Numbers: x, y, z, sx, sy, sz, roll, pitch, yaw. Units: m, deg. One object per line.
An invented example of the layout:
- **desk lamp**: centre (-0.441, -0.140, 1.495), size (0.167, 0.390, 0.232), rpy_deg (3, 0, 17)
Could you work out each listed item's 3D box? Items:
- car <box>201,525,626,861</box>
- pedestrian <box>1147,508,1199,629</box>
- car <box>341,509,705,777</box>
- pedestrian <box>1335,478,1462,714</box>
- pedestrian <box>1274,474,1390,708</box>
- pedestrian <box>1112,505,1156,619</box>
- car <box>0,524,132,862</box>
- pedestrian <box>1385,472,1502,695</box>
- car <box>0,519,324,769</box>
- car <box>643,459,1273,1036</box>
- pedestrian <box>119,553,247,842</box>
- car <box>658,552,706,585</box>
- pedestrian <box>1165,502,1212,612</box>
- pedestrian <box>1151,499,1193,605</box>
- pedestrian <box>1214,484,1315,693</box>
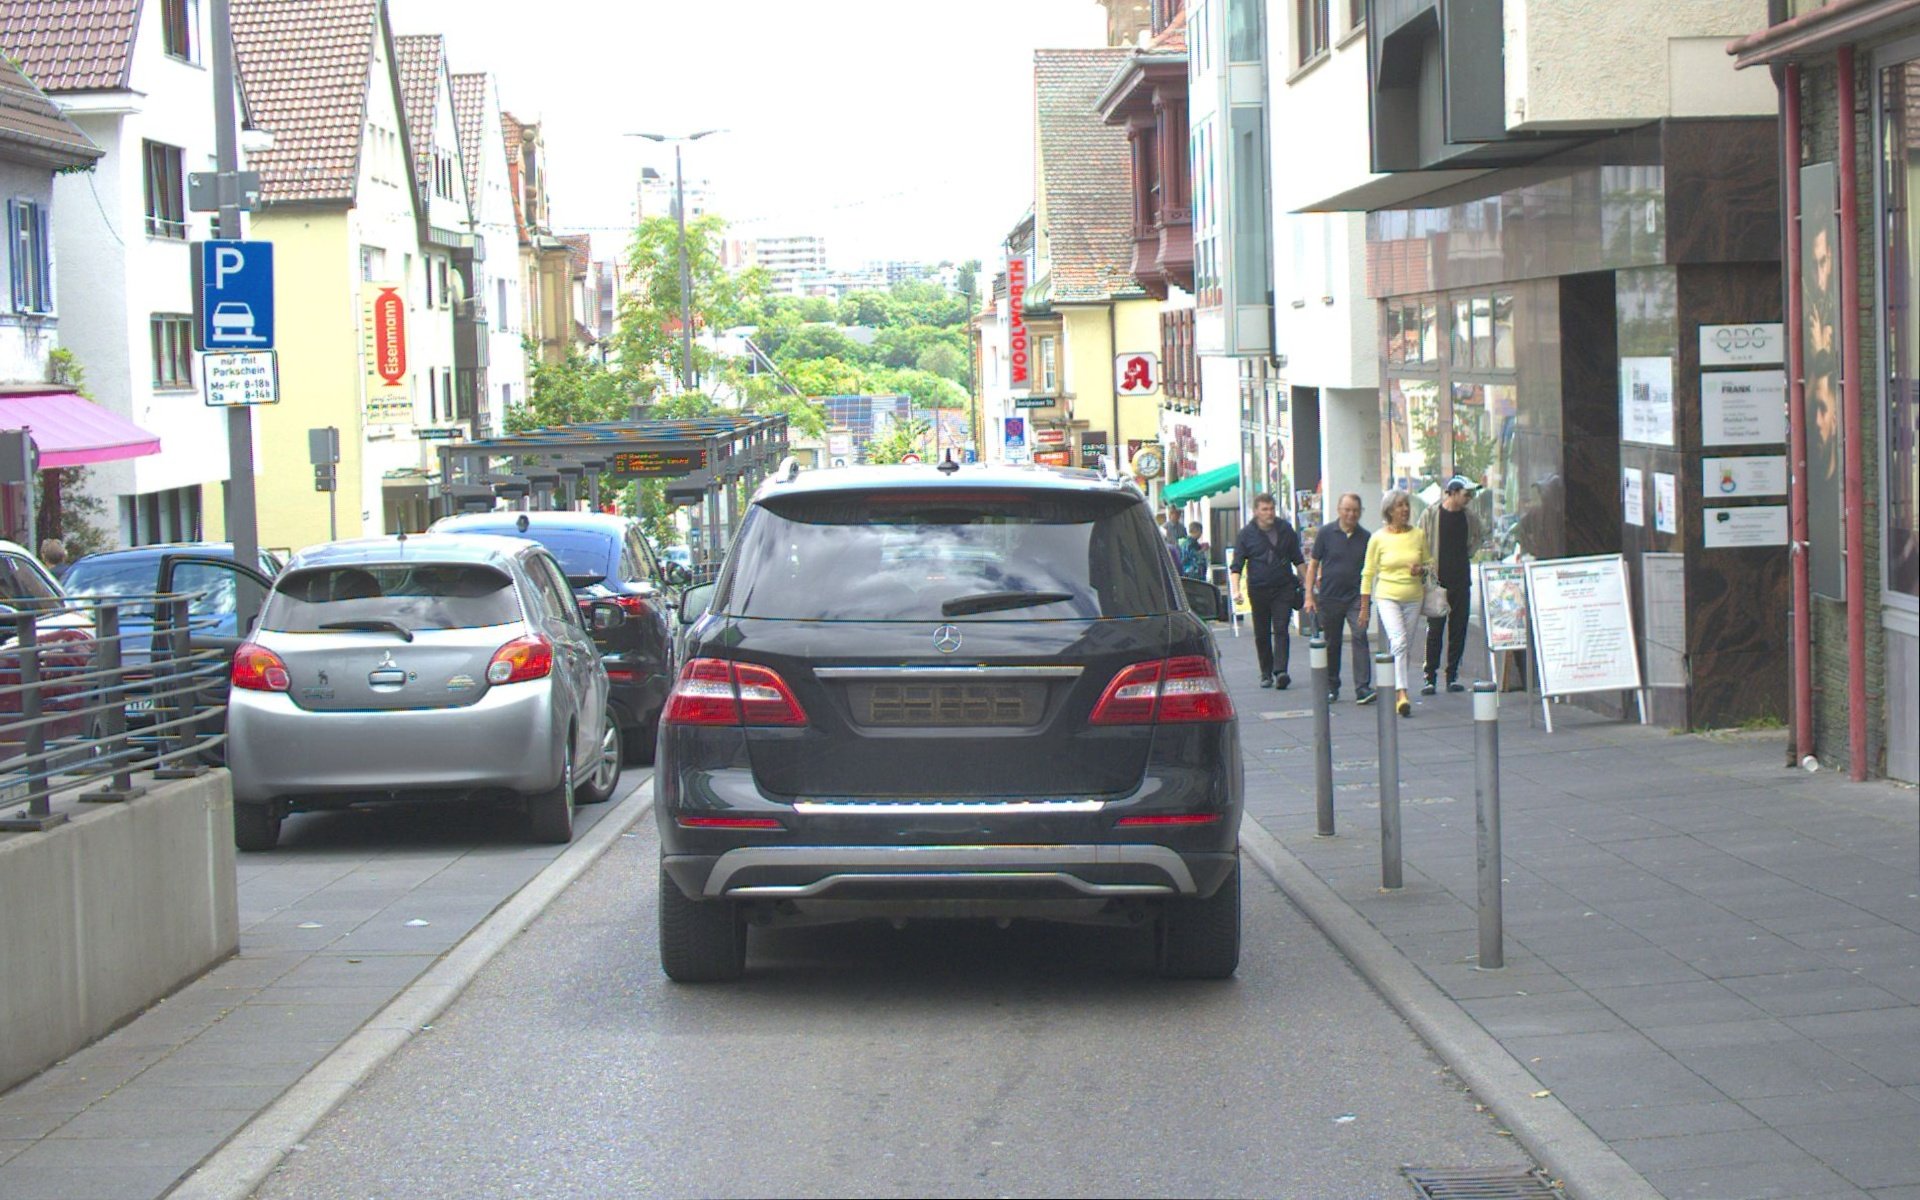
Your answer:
- **car**: centre (-2.674, 0.393, 17.523), size (1.620, 1.527, 3.671), rpy_deg (0, 1, -1)
- **pedestrian**: centre (2.980, -0.437, 48.233), size (0.621, 1.683, 0.566), rpy_deg (0, 1, -7)
- **car**: centre (-2.842, 0.223, 23.256), size (1.956, 1.634, 4.315), rpy_deg (0, 1, -1)
- **pedestrian**: centre (3.132, -0.040, 24.606), size (0.711, 1.625, 0.835), rpy_deg (-3, 1, 0)
- **pedestrian**: centre (2.864, -0.078, 26.516), size (0.711, 1.747, 0.785), rpy_deg (-3, 1, 0)
- **pedestrian**: centre (2.658, -0.589, 52.545), size (0.542, 1.720, 0.528), rpy_deg (-2, 1, -7)
- **car**: centre (-5.235, 0.409, 16.113), size (1.739, 1.537, 4.193), rpy_deg (0, 1, -1)
- **pedestrian**: centre (3.775, -0.134, 26.886), size (0.662, 1.683, 0.543), rpy_deg (-5, 1, -7)
- **car**: centre (-5.546, 0.223, 22.966), size (1.739, 1.470, 3.884), rpy_deg (1, 2, 2)
- **car**: centre (-0.084, 0.415, 12.447), size (1.900, 1.741, 4.001), rpy_deg (0, 1, -2)
- **pedestrian**: centre (-3.968, 0.489, 17.574), size (0.466, 1.427, 0.492), rpy_deg (-3, 1, 0)
- **car**: centre (-9.622, -1.108, 119.088), size (1.388, 1.066, 3.113), rpy_deg (-2, 1, 0)
- **pedestrian**: centre (3.580, -0.676, 53.877), size (0.573, 1.683, 0.566), rpy_deg (-3, 1, -7)
- **pedestrian**: centre (3.380, -0.766, 54.828), size (0.573, 1.683, 0.566), rpy_deg (0, 1, -7)
- **pedestrian**: centre (2.626, -0.107, 29.715), size (0.711, 1.747, 0.787), rpy_deg (-3, 1, 0)
